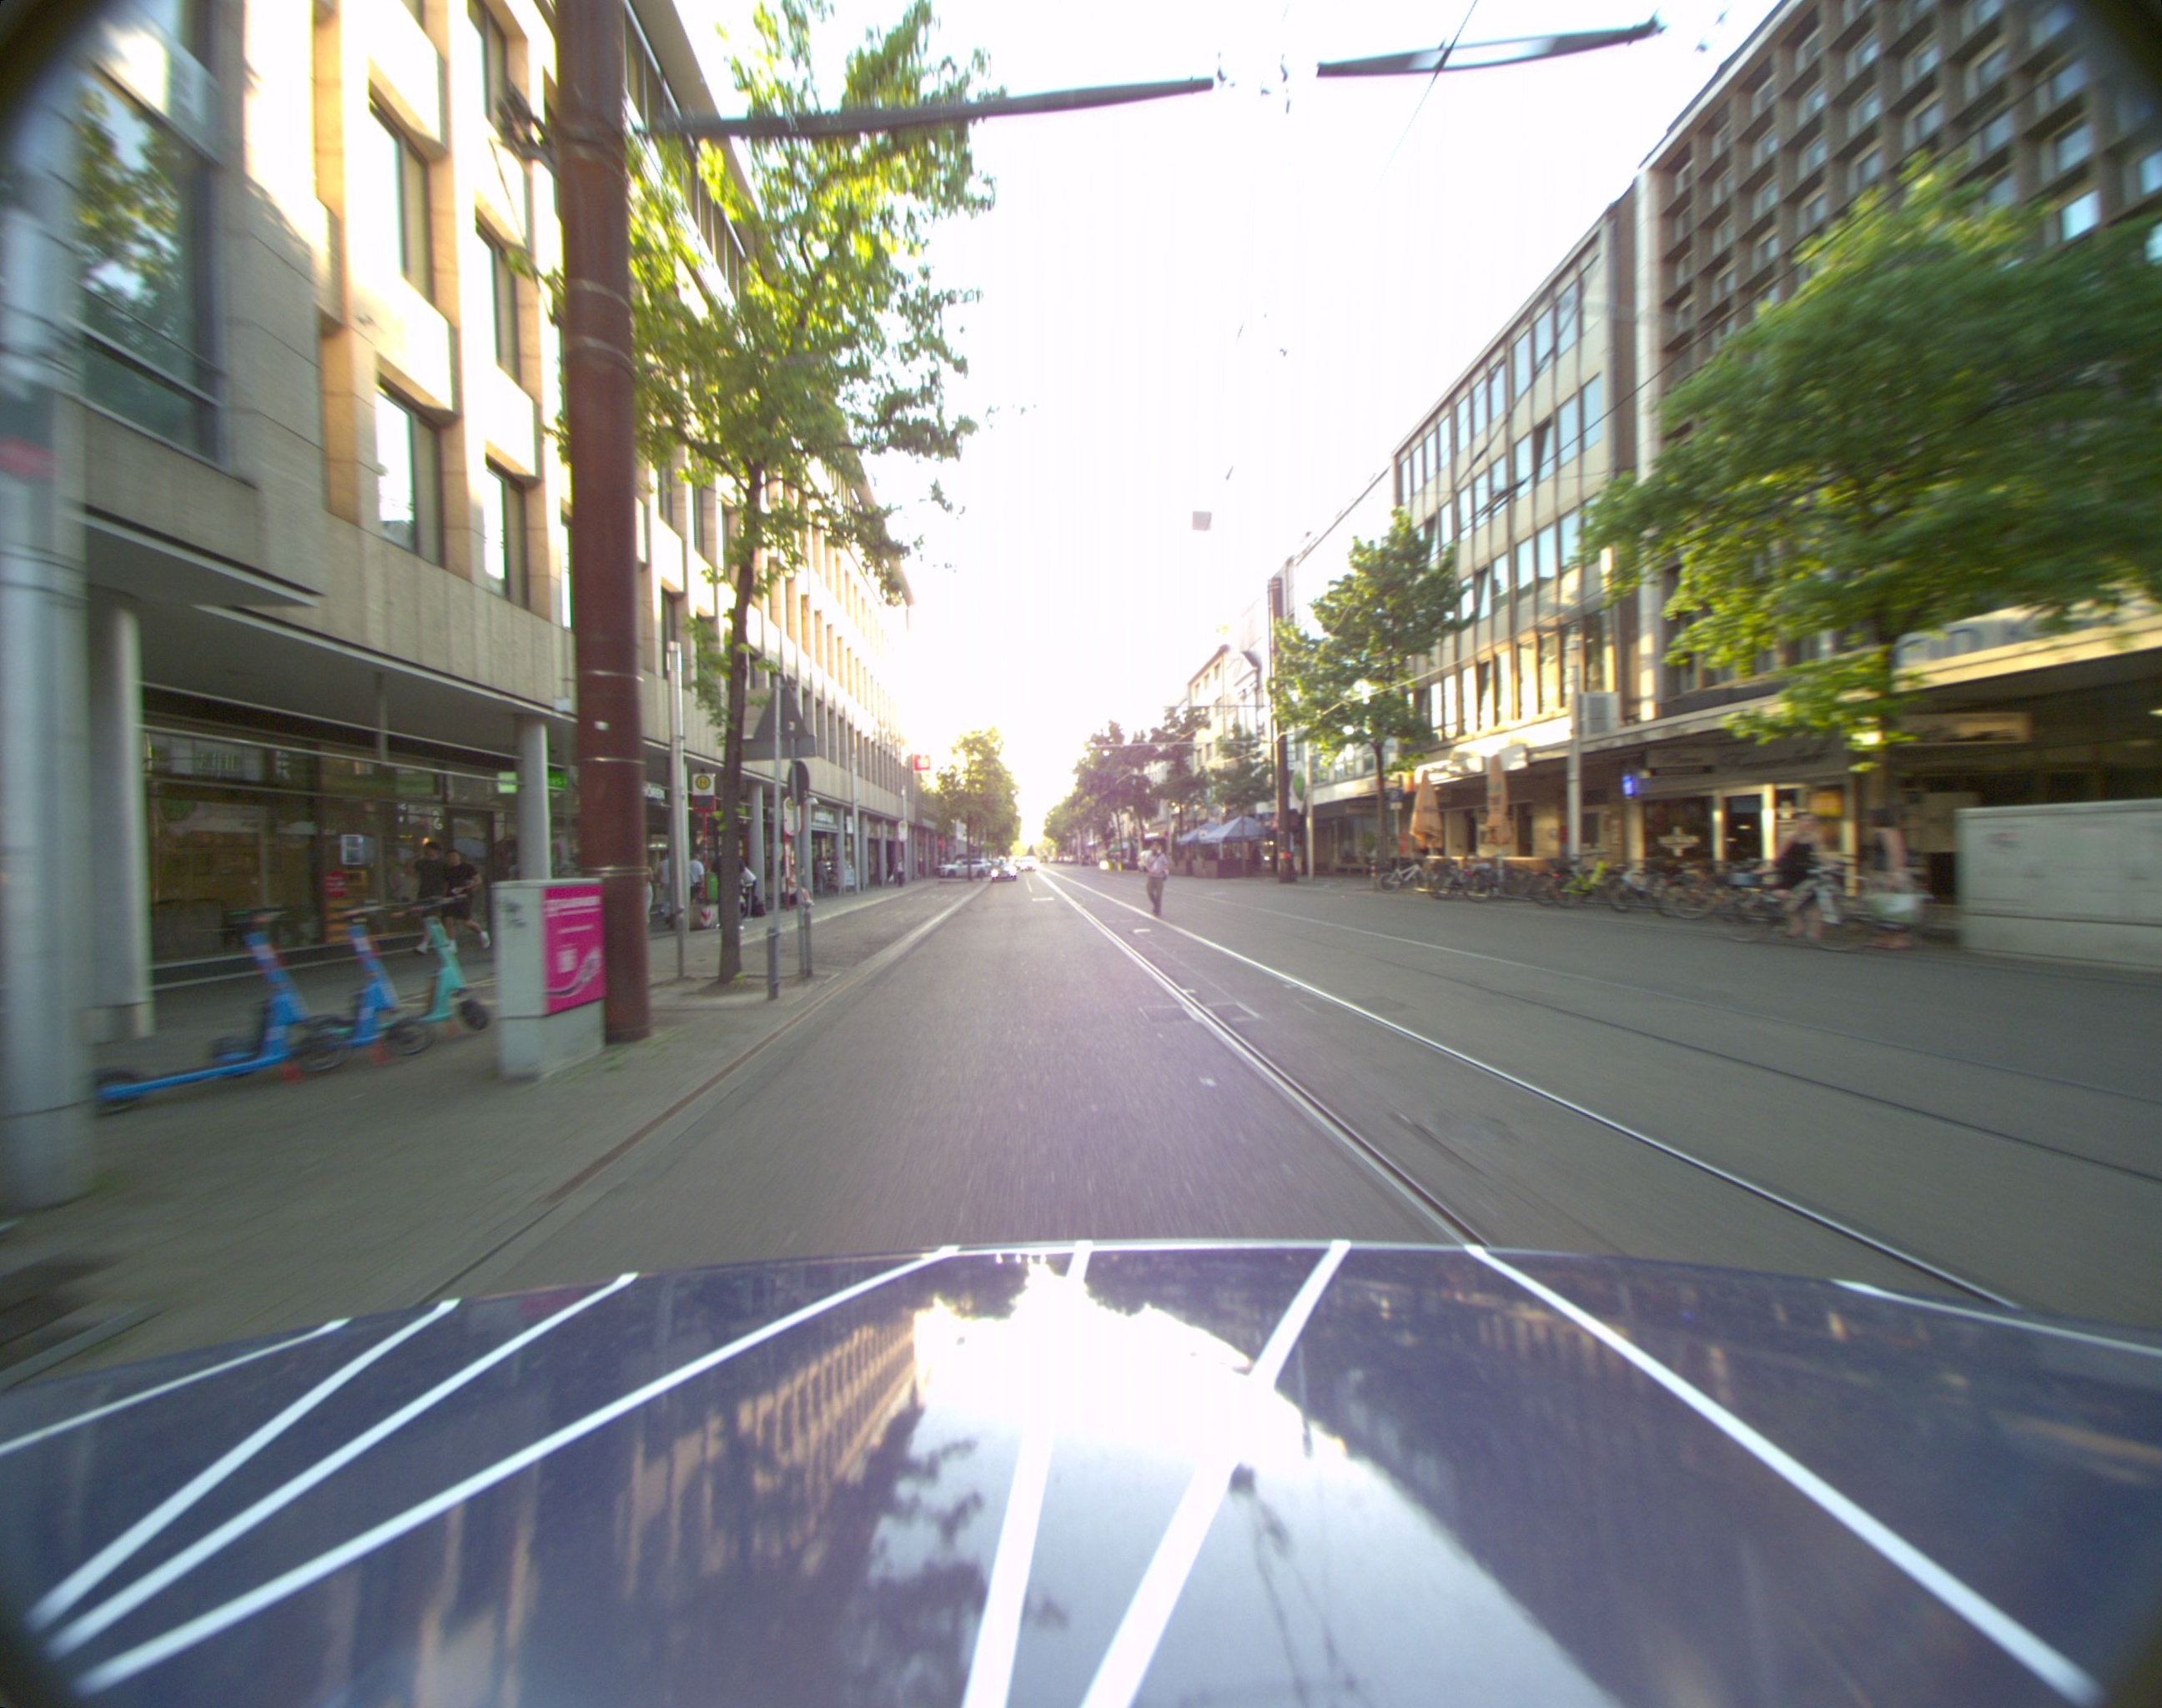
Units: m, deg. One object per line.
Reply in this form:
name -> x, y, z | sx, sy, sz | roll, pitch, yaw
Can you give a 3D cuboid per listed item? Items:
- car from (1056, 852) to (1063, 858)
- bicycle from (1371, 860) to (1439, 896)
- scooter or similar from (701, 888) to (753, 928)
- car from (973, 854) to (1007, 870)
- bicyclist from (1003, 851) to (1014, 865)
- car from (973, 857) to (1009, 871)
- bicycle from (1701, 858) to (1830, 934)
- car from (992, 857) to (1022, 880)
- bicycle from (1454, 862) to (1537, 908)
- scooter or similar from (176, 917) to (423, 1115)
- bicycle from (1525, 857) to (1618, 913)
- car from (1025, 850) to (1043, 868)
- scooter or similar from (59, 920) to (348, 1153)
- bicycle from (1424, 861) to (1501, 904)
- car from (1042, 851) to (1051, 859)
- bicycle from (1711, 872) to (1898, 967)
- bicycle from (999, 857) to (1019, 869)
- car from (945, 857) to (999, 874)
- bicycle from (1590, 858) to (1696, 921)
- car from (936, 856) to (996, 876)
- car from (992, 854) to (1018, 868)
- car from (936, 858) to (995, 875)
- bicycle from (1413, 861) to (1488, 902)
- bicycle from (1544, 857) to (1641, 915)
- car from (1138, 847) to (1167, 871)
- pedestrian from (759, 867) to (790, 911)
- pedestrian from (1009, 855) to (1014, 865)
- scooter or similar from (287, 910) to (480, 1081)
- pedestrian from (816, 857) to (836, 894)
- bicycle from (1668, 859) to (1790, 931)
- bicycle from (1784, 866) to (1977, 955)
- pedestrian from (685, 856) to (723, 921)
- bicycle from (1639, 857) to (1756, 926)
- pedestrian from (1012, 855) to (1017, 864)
car -> -5.659, 0.195, 199.345 | 1.799, 1.501, 3.999 | -1, 0, -3
bicycle -> 9.613, 0.723, 22.603 | 1.775, 0.960, 0.490 | -3, 1, 13
scooter or similar -> -8.420, 1.280, 18.086 | 0.835, 0.879, 0.687 | -3, 1, 10
car -> -12.005, 1.032, 100.538 | 4.005, 1.776, 1.861 | -4, 1, -28
bicyclist -> -7.273, 0.383, 76.456 | 0.896, 1.406, 0.762 | -2, 0, 14
car -> -11.398, 1.246, 95.860 | 4.006, 1.501, 1.861 | -4, 1, -33
bicycle -> 10.902, 0.655, 12.102 | 1.778, 1.065, 0.489 | -3, 0, -10
car -> -5.187, 0.990, 53.933 | 1.799, 1.400, 4.564 | -2, 1, -2
bicycle -> 9.892, 0.733, 18.133 | 1.778, 0.984, 0.489 | -3, 0, -10
scooter or similar -> -5.638, 1.119, 5.558 | 1.193, 1.244, 0.392 | 0, 0, -33
bicycle -> 10.531, 0.656, 16.321 | 1.778, 1.065, 0.489 | -3, 0, -10
car -> -5.504, 0.591, 88.549 | 1.999, 2.002, 3.999 | -1, 0, -3
scooter or similar -> -5.663, 1.098, 4.966 | 0.392, 1.244, 1.194 | 0, 0, 34
bicycle -> 9.803, 0.724, 19.541 | 1.778, 0.984, 0.489 | -3, 0, -10
car -> -8.641, 0.285, 189.047 | 1.999, 2.002, 3.999 | -1, 0, -3
bicycle -> 8.979, 0.762, 9.538 | 0.489, 1.039, 1.777 | -2, 0, -7
bicycle -> -7.236, 0.908, 76.461 | 1.862, 1.067, 0.733 | -2, 0, 14
car -> -10.191, 1.054, 71.072 | 4.647, 1.578, 1.913 | 1, 0, -38
bicycle -> 10.725, 0.665, 14.512 | 1.778, 1.065, 0.489 | -3, 0, -10
car -> -9.622, 1.054, 63.763 | 4.646, 1.619, 1.913 | 1, -2, -36
car -> -11.329, 0.995, 113.544 | 1.860, 1.776, 4.006 | -4, 1, 31
car -> -10.093, 1.123, 66.438 | 4.645, 1.431, 1.913 | 1, 0, -31
bicycle -> 9.758, 0.721, 20.068 | 1.778, 0.984, 0.489 | -3, 0, -10
bicycle -> 10.590, 0.659, 15.746 | 1.778, 1.065, 0.489 | -3, 0, -10
car -> 6.176, 0.426, 66.209 | 1.831, 1.811, 4.328 | -4, 0, -2
pedestrian -> -9.477, 1.071, 23.512 | 0.720, 1.307, 0.532 | -2, 1, -2
pedestrian -> -10.643, 0.893, 116.547 | 0.651, 1.451, 0.649 | -2, 1, -20
scooter or similar -> -5.763, 1.124, 6.351 | 1.118, 1.244, 0.495 | 0, 0, -34
pedestrian -> -11.410, 0.950, 34.008 | 0.689, 1.652, 0.721 | -1, 1, -3
bicycle -> 10.869, 0.675, 12.754 | 1.778, 1.065, 0.489 | -3, 0, -10
bicycle -> 10.324, 0.683, 9.913 | 0.489, 1.039, 1.777 | -2, 0, -7
pedestrian -> -9.843, 0.889, 19.847 | 0.650, 1.651, 0.650 | -1, 1, -3
bicycle -> 10.775, 0.644, 13.293 | 1.778, 1.065, 0.489 | -3, 0, -10
pedestrian -> -10.439, 0.861, 119.185 | 0.651, 1.451, 0.649 | -2, 1, -20
